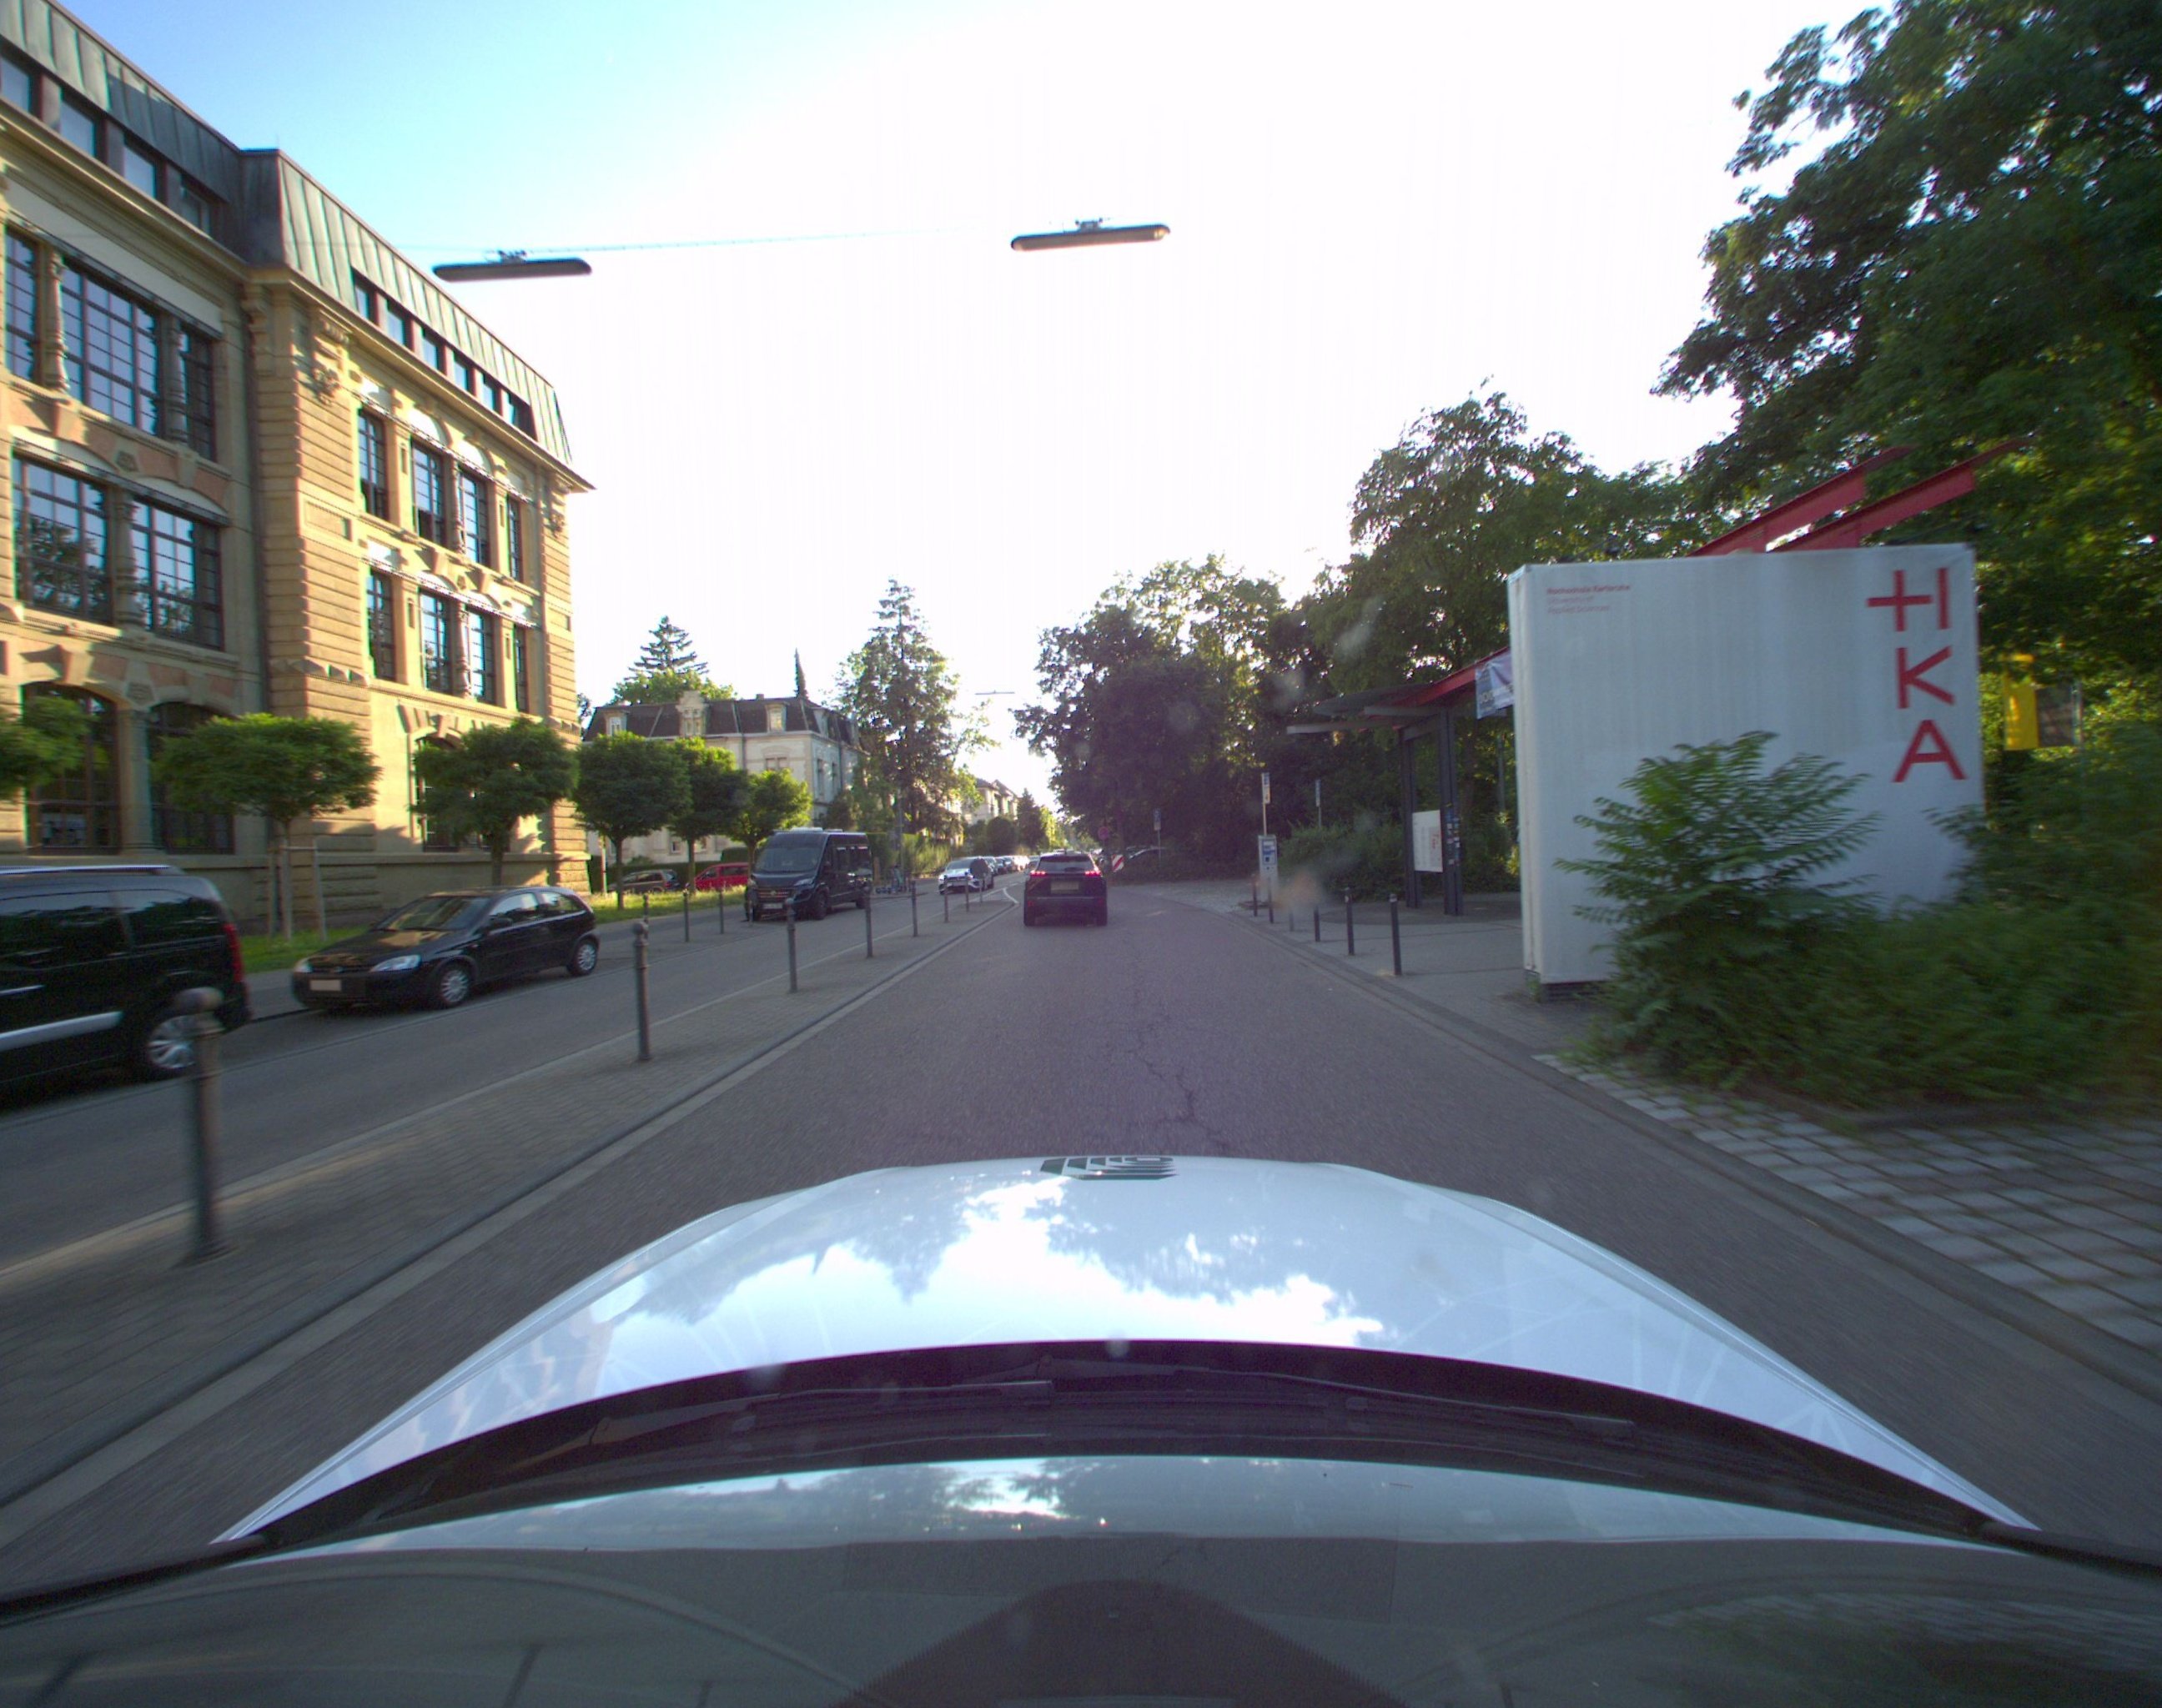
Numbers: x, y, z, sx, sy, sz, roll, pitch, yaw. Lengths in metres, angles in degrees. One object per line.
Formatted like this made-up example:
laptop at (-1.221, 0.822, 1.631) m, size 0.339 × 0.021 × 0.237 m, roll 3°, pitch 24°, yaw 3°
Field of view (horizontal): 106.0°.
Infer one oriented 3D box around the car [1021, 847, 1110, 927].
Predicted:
car at (-0.262, 0.639, 18.489) m, size 1.765 × 1.568 × 4.110 m, roll -1°, pitch 0°, yaw 1°

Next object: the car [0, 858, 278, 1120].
car at (-8.687, 0.991, 5.689) m, size 1.771 × 1.866 × 4.334 m, roll 0°, pitch 0°, yaw 2°

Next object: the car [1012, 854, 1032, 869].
car at (-6.237, 0.764, 86.769) m, size 1.607 × 1.466 × 4.037 m, roll -3°, pitch 0°, yaw 2°

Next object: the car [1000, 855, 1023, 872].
car at (-6.549, 0.842, 76.575) m, size 1.607 × 1.466 × 4.037 m, roll -3°, pitch 0°, yaw 2°

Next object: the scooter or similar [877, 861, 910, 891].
scooter or similar at (-8.338, 0.986, 36.205) m, size 1.349 × 1.275 × 0.427 m, roll -2°, pitch 0°, yaw -34°

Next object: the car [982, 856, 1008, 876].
car at (-6.927, 0.919, 66.026) m, size 1.608 × 1.485 × 3.742 m, roll -3°, pitch 0°, yaw 1°

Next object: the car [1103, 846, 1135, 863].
car at (4.982, 0.075, 107.508) m, size 3.979 × 2.089 × 1.755 m, roll -2°, pitch 0°, yaw -4°

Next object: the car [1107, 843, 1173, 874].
car at (4.013, 0.325, 55.723) m, size 4.293 × 1.804 × 2.035 m, roll -4°, pitch 0°, yaw 0°

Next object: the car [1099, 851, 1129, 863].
car at (4.449, 0.430, 110.282) m, size 3.979 × 1.526 × 1.755 m, roll -2°, pitch 0°, yaw -4°

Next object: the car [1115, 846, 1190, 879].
car at (3.898, 0.475, 45.073) m, size 3.973 × 1.554 × 1.726 m, roll -3°, pitch 1°, yaw 1°

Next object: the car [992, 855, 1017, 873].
car at (-6.630, 0.853, 70.799) m, size 1.607 × 1.466 × 4.037 m, roll -3°, pitch 0°, yaw 2°

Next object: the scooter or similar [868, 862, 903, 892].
scooter or similar at (-8.518, 0.994, 35.519) m, size 1.349 × 1.275 × 0.427 m, roll -2°, pitch 0°, yaw -34°

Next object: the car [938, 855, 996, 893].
car at (-4.869, 0.801, 35.450) m, size 1.735 × 1.458 × 4.624 m, roll -3°, pitch 0°, yaw 1°

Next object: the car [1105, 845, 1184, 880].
car at (3.256, 0.408, 42.552) m, size 3.973 × 1.554 × 1.726 m, roll -3°, pitch 1°, yaw 1°

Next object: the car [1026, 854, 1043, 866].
car at (-5.852, 0.723, 102.871) m, size 1.747 × 1.413 × 3.763 m, roll -4°, pitch 0°, yaw 0°

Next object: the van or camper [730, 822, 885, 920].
van or camper at (-8.041, 0.448, 24.939) m, size 2.222 × 2.544 × 7.081 m, roll -1°, pitch 0°, yaw 1°

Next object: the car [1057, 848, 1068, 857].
car at (-3.859, -0.284, 170.894) m, size 1.987 × 1.768 × 4.000 m, roll -2°, pitch 0°, yaw 1°

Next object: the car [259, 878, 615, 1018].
car at (-8.466, 1.136, 11.222) m, size 1.689 × 1.470 × 3.857 m, roll 0°, pitch 0°, yaw 3°

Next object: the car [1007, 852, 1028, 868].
car at (-6.364, 0.590, 82.152) m, size 1.607 × 1.466 × 4.037 m, roll -3°, pitch 0°, yaw 2°

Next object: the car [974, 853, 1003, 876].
car at (-6.827, 0.780, 60.584) m, size 1.609 × 1.515 × 3.711 m, roll -4°, pitch 0°, yaw 0°

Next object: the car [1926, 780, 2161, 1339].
car at (5.410, 0.389, 1.853) m, size 4.910 × 1.554 × 1.916 m, roll -5°, pitch 0°, yaw 0°

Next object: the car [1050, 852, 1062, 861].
car at (-4.499, 0.379, 148.651) m, size 1.893 × 1.574 × 4.001 m, roll -2°, pitch 0°, yaw 1°

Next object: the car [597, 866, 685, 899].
car at (-25.539, 1.618, 47.340) m, size 3.976 × 1.673 × 1.919 m, roll -2°, pitch 0°, yaw -1°

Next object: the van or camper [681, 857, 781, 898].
van or camper at (-20.309, 1.351, 47.398) m, size 4.748 × 1.985 × 2.003 m, roll -3°, pitch 4°, yaw 3°

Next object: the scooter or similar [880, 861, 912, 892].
scooter or similar at (-7.969, 0.971, 35.144) m, size 0.426 × 1.275 × 1.353 m, roll -3°, pitch 0°, yaw 37°

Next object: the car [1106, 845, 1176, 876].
car at (3.478, 0.388, 47.651) m, size 3.973 × 1.554 × 1.753 m, roll -3°, pitch 1°, yaw 1°
